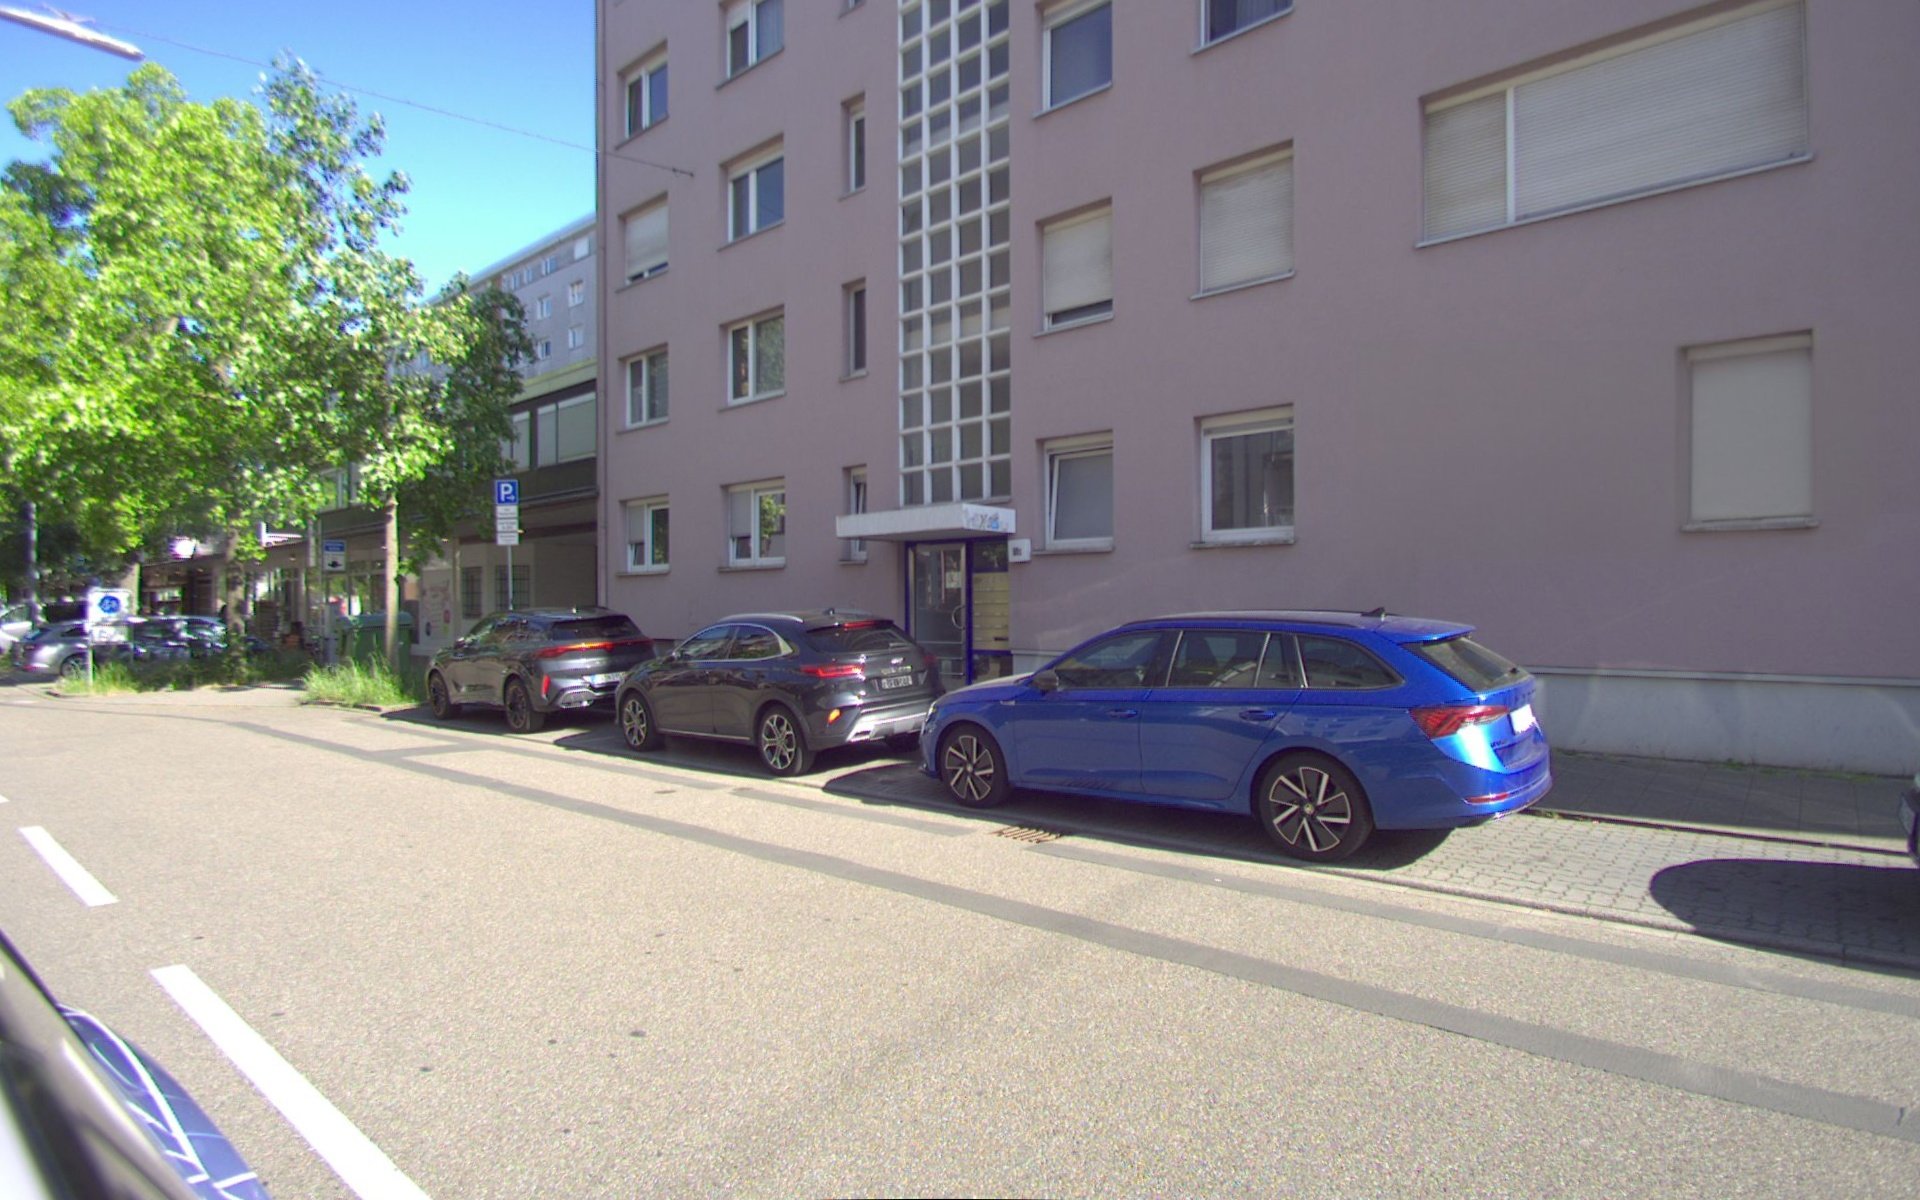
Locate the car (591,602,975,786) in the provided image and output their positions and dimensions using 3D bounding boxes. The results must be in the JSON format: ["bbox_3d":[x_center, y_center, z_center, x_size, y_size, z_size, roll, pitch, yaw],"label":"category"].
[{"bbox_3d":[-2.036,0.840,10.789,4.245,1.519,1.798,-1,1,43],"label":"car"}]

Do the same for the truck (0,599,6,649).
[{"bbox_3d":[-52.388,1.247,51.488,1.993,2.615,5.266,-1,-1,31],"label":"truck"}]

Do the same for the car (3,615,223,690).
[{"bbox_3d":[-20.968,1.227,25.165,1.999,1.687,3.945,-1,-1,41],"label":"car"}]

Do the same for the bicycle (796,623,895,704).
[{"bbox_3d":[-1.684,0.895,14.709,1.649,1.084,0.386,-1,3,42],"label":"bicycle"}]

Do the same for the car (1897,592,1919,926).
[{"bbox_3d":[6.311,0.685,3.203,4.812,1.476,1.700,-1,1,41],"label":"car"}]

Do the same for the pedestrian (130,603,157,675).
[{"bbox_3d":[-23.615,1.117,29.269,0.557,2.029,0.754,0,-1,-43],"label":"pedestrian"}]

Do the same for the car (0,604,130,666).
[{"bbox_3d":[-31.281,1.169,34.822,1.999,2.047,3.945,-1,-1,41],"label":"car"}]

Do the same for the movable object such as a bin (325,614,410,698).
[{"bbox_3d":[-11.572,1.064,19.770,1.230,1.557,1.019,0,-1,-44],"label":"movable object such as a bin"}]

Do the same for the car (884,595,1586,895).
[{"bbox_3d":[1.688,0.777,7.325,4.610,1.476,1.699,-1,1,41],"label":"car"}]

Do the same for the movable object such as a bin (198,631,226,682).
[{"bbox_3d":[-18.484,1.382,25.019,0.409,1.234,0.482,-1,-1,41],"label":"movable object such as a bin"}]

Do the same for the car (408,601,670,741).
[{"bbox_3d":[-6.049,0.894,14.328,4.141,1.604,1.798,-1,2,43],"label":"car"}]
